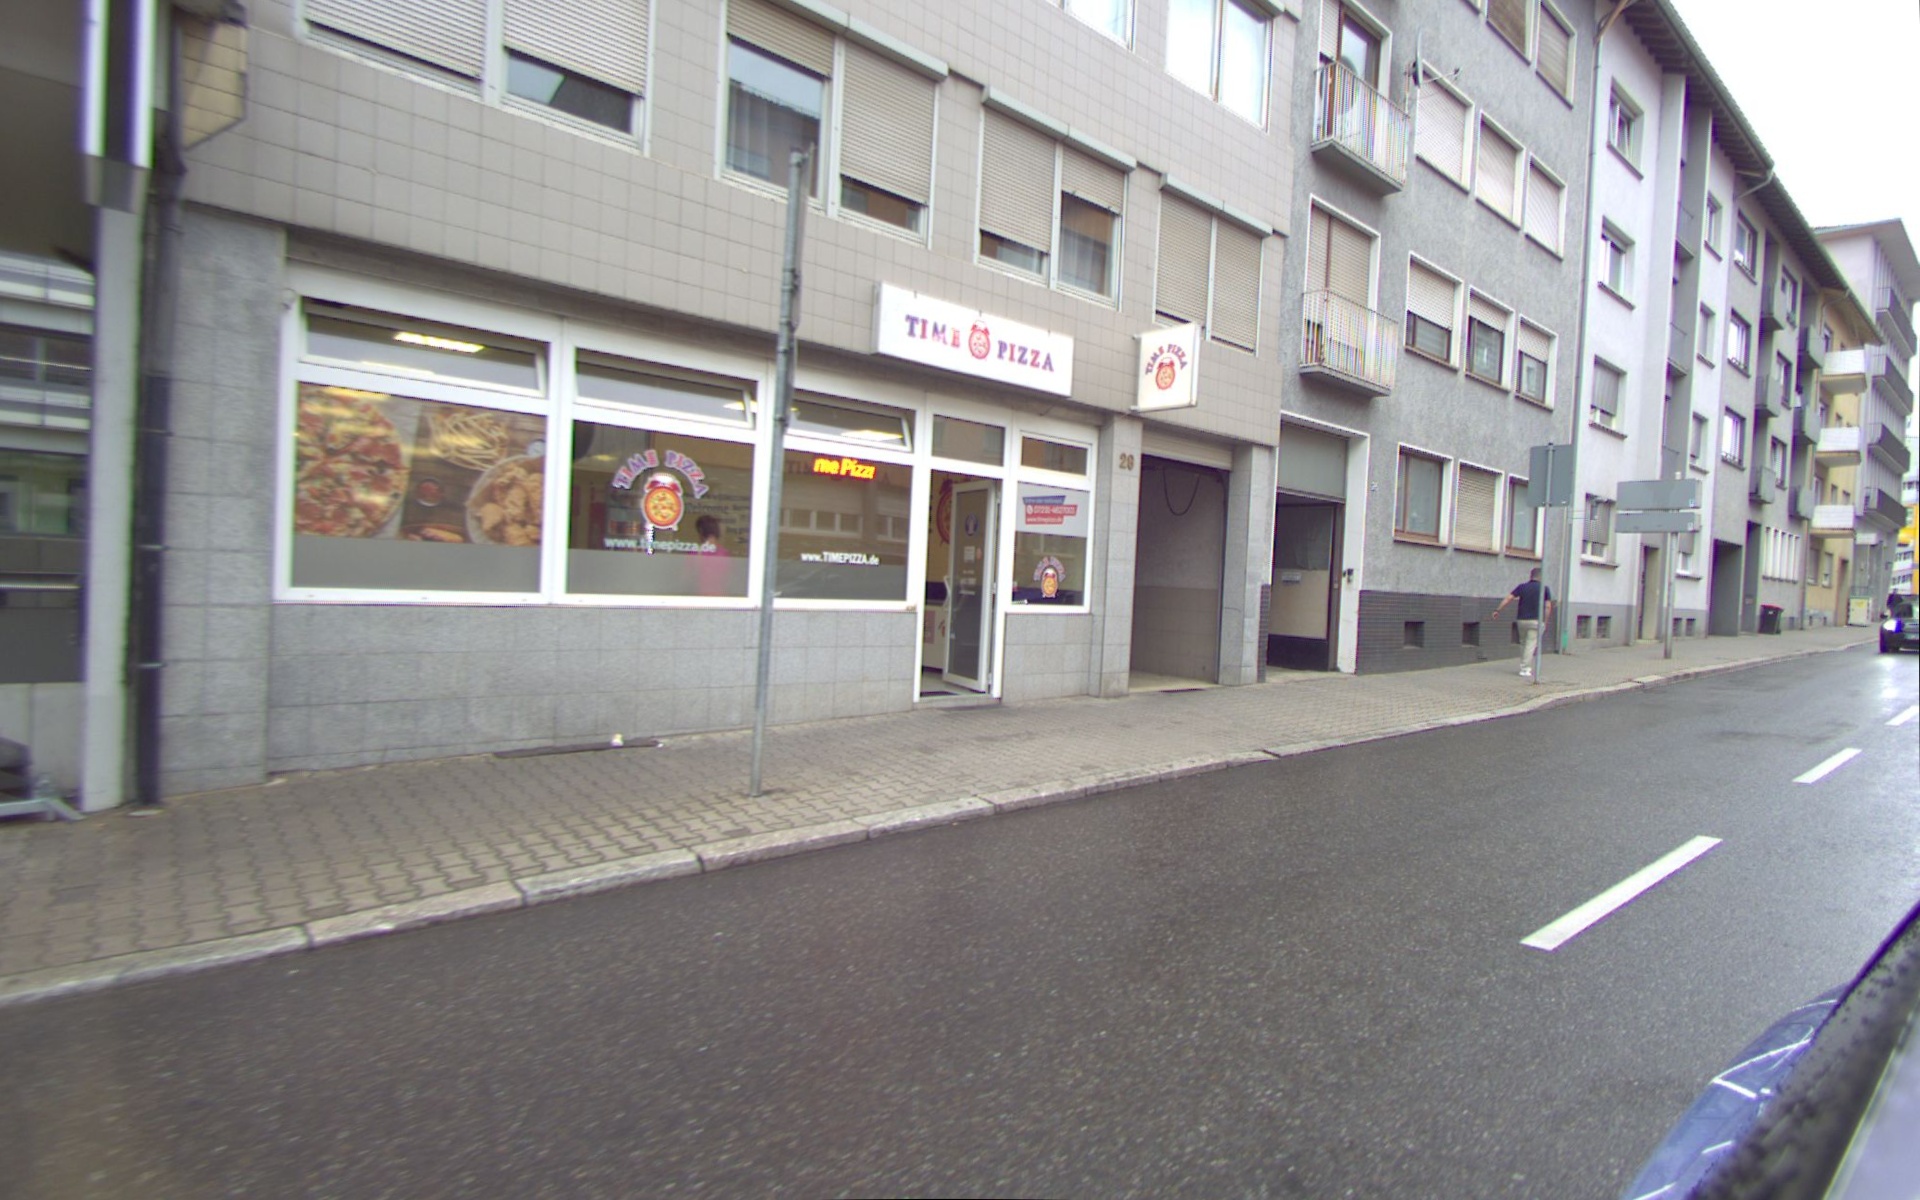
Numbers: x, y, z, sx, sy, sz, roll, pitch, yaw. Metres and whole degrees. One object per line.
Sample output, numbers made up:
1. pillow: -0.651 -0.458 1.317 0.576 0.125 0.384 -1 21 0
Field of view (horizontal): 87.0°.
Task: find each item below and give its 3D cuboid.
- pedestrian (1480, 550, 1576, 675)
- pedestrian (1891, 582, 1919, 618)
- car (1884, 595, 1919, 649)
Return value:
1. pedestrian: 9.265 0.173 16.509 1.100 1.887 0.871 -1 7 -41
2. pedestrian: 47.826 -0.001 51.117 1.117 1.772 0.946 4 3 44
3. car: 27.781 0.593 28.721 4.144 1.394 1.854 -1 1 -41
